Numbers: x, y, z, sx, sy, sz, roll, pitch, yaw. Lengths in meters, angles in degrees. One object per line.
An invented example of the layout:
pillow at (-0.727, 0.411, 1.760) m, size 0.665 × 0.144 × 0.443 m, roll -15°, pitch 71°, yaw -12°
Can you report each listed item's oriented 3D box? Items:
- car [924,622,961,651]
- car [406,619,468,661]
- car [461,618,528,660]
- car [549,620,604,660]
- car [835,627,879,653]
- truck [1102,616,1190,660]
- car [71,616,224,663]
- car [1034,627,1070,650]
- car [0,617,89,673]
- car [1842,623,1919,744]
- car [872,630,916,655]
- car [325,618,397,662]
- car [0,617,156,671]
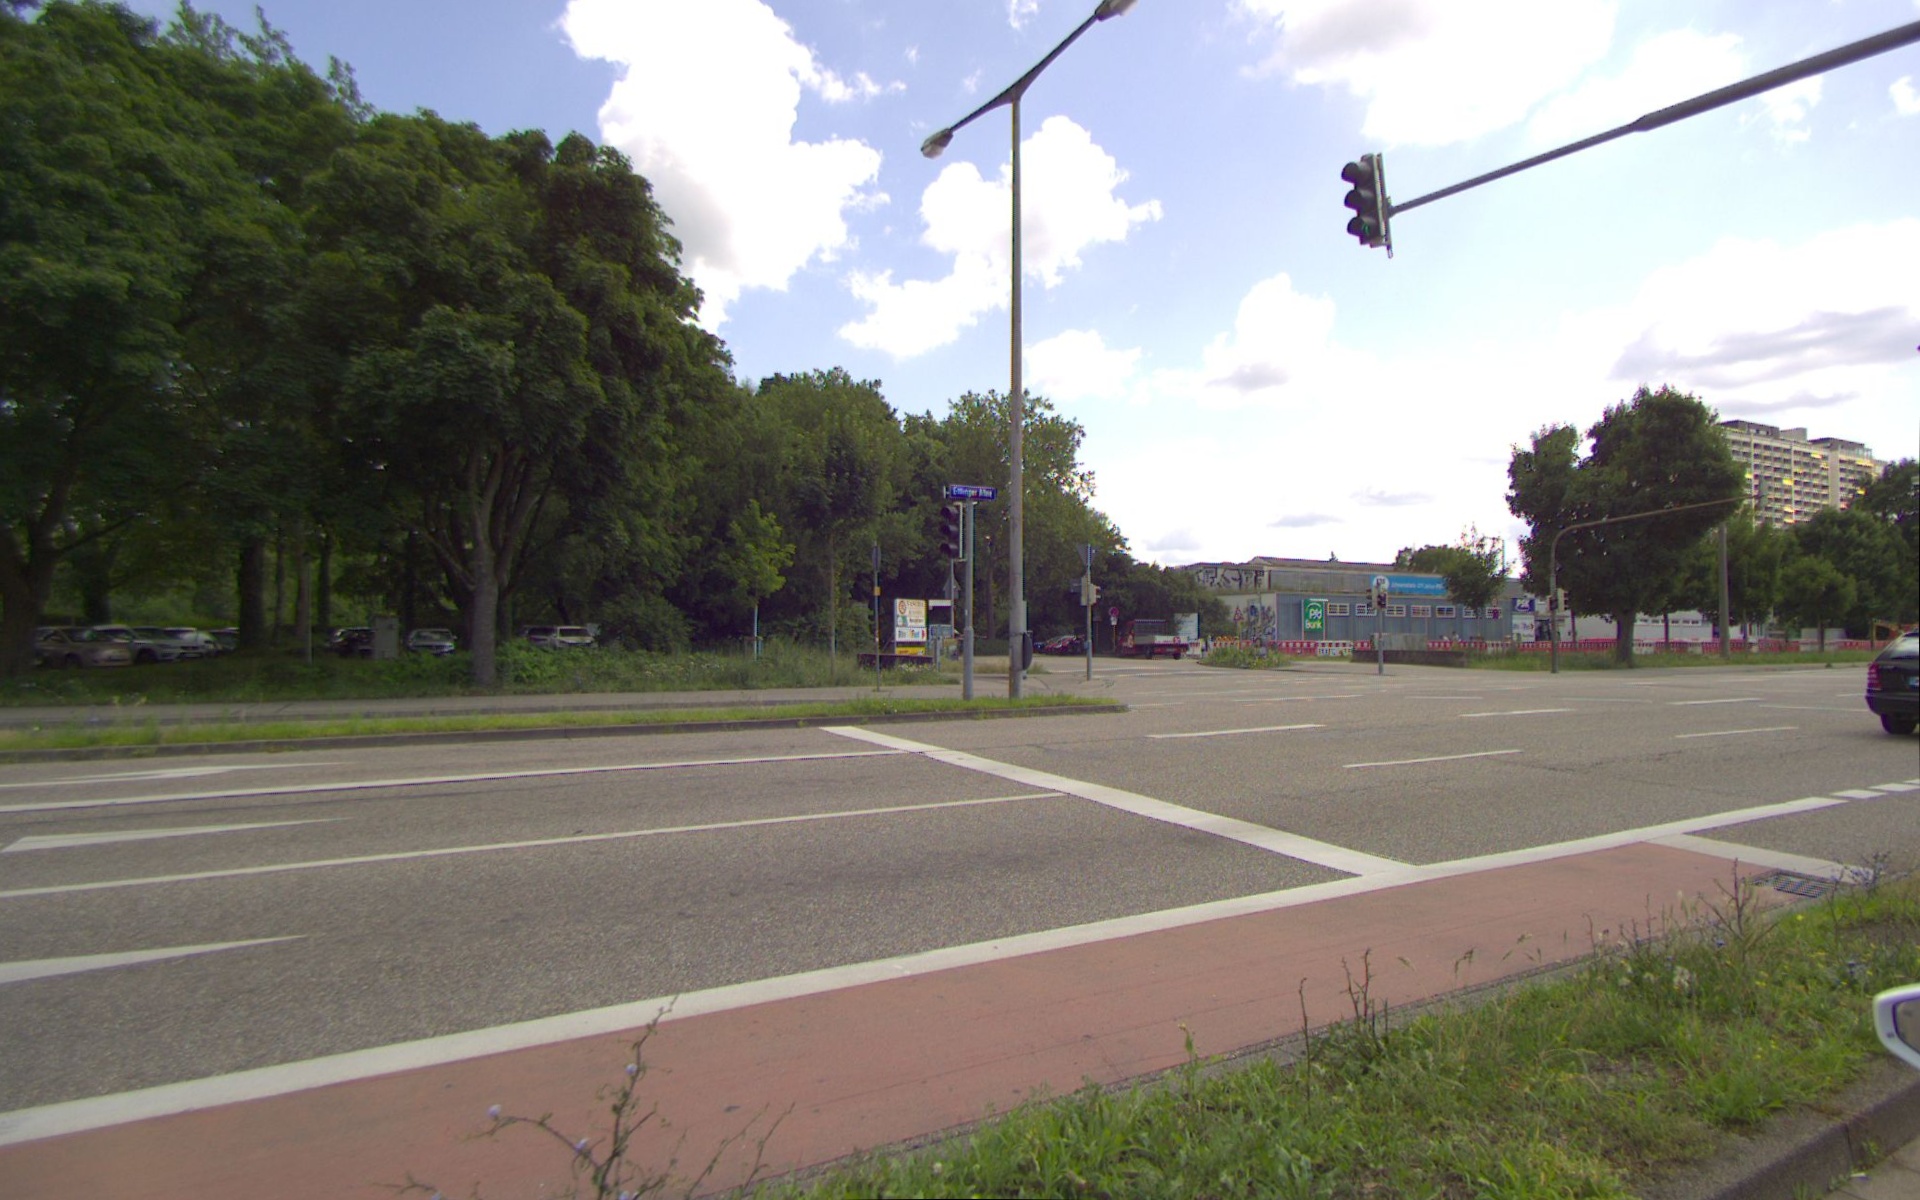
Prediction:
car at (-1.186, 2.381, 66.549) m, size 1.903 × 1.817 × 3.613 m, roll 1°, pitch -1°, yaw -11°
car at (-22.564, 1.713, 43.474) m, size 1.791 × 1.732 × 4.109 m, roll 1°, pitch -2°, yaw -20°
car at (-20.411, 1.727, 44.250) m, size 2.013 × 1.748 × 4.562 m, roll 0°, pitch -2°, yaw -17°
car at (-17.670, 1.839, 46.449) m, size 2.043 × 1.748 × 4.114 m, roll 0°, pitch -2°, yaw -17°
car at (-6.609, 2.551, 64.452) m, size 1.599 × 1.528 × 3.594 m, roll 1°, pitch -1°, yaw -27°
truck at (11.182, 2.301, 61.166) m, size 2.985 × 2.471 × 6.975 m, roll 0°, pitch -2°, yaw -10°
car at (-28.419, 1.389, 35.206) m, size 3.941 × 1.565 × 2.002 m, roll 0°, pitch -2°, yaw 8°
car at (7.243, 3.028, 79.433) m, size 1.682 × 1.810 × 3.991 m, roll 0°, pitch -2°, yaw -13°
car at (-29.018, 1.343, 30.307) m, size 3.941 × 1.608 × 2.002 m, roll 0°, pitch -2°, yaw 8°
car at (13.822, 1.058, 13.295) m, size 4.376 × 1.485 × 1.749 m, roll 1°, pitch -2°, yaw -27°
car at (-4.367, 2.736, 65.760) m, size 1.599 × 1.528 × 3.594 m, roll 1°, pitch -1°, yaw -27°
car at (-24.861, 1.648, 41.853) m, size 1.791 × 1.750 × 4.109 m, roll 1°, pitch -2°, yaw -20°
car at (-28.863, 1.439, 32.736) m, size 3.941 × 1.608 × 2.002 m, roll -2°, pitch -2°, yaw 7°
